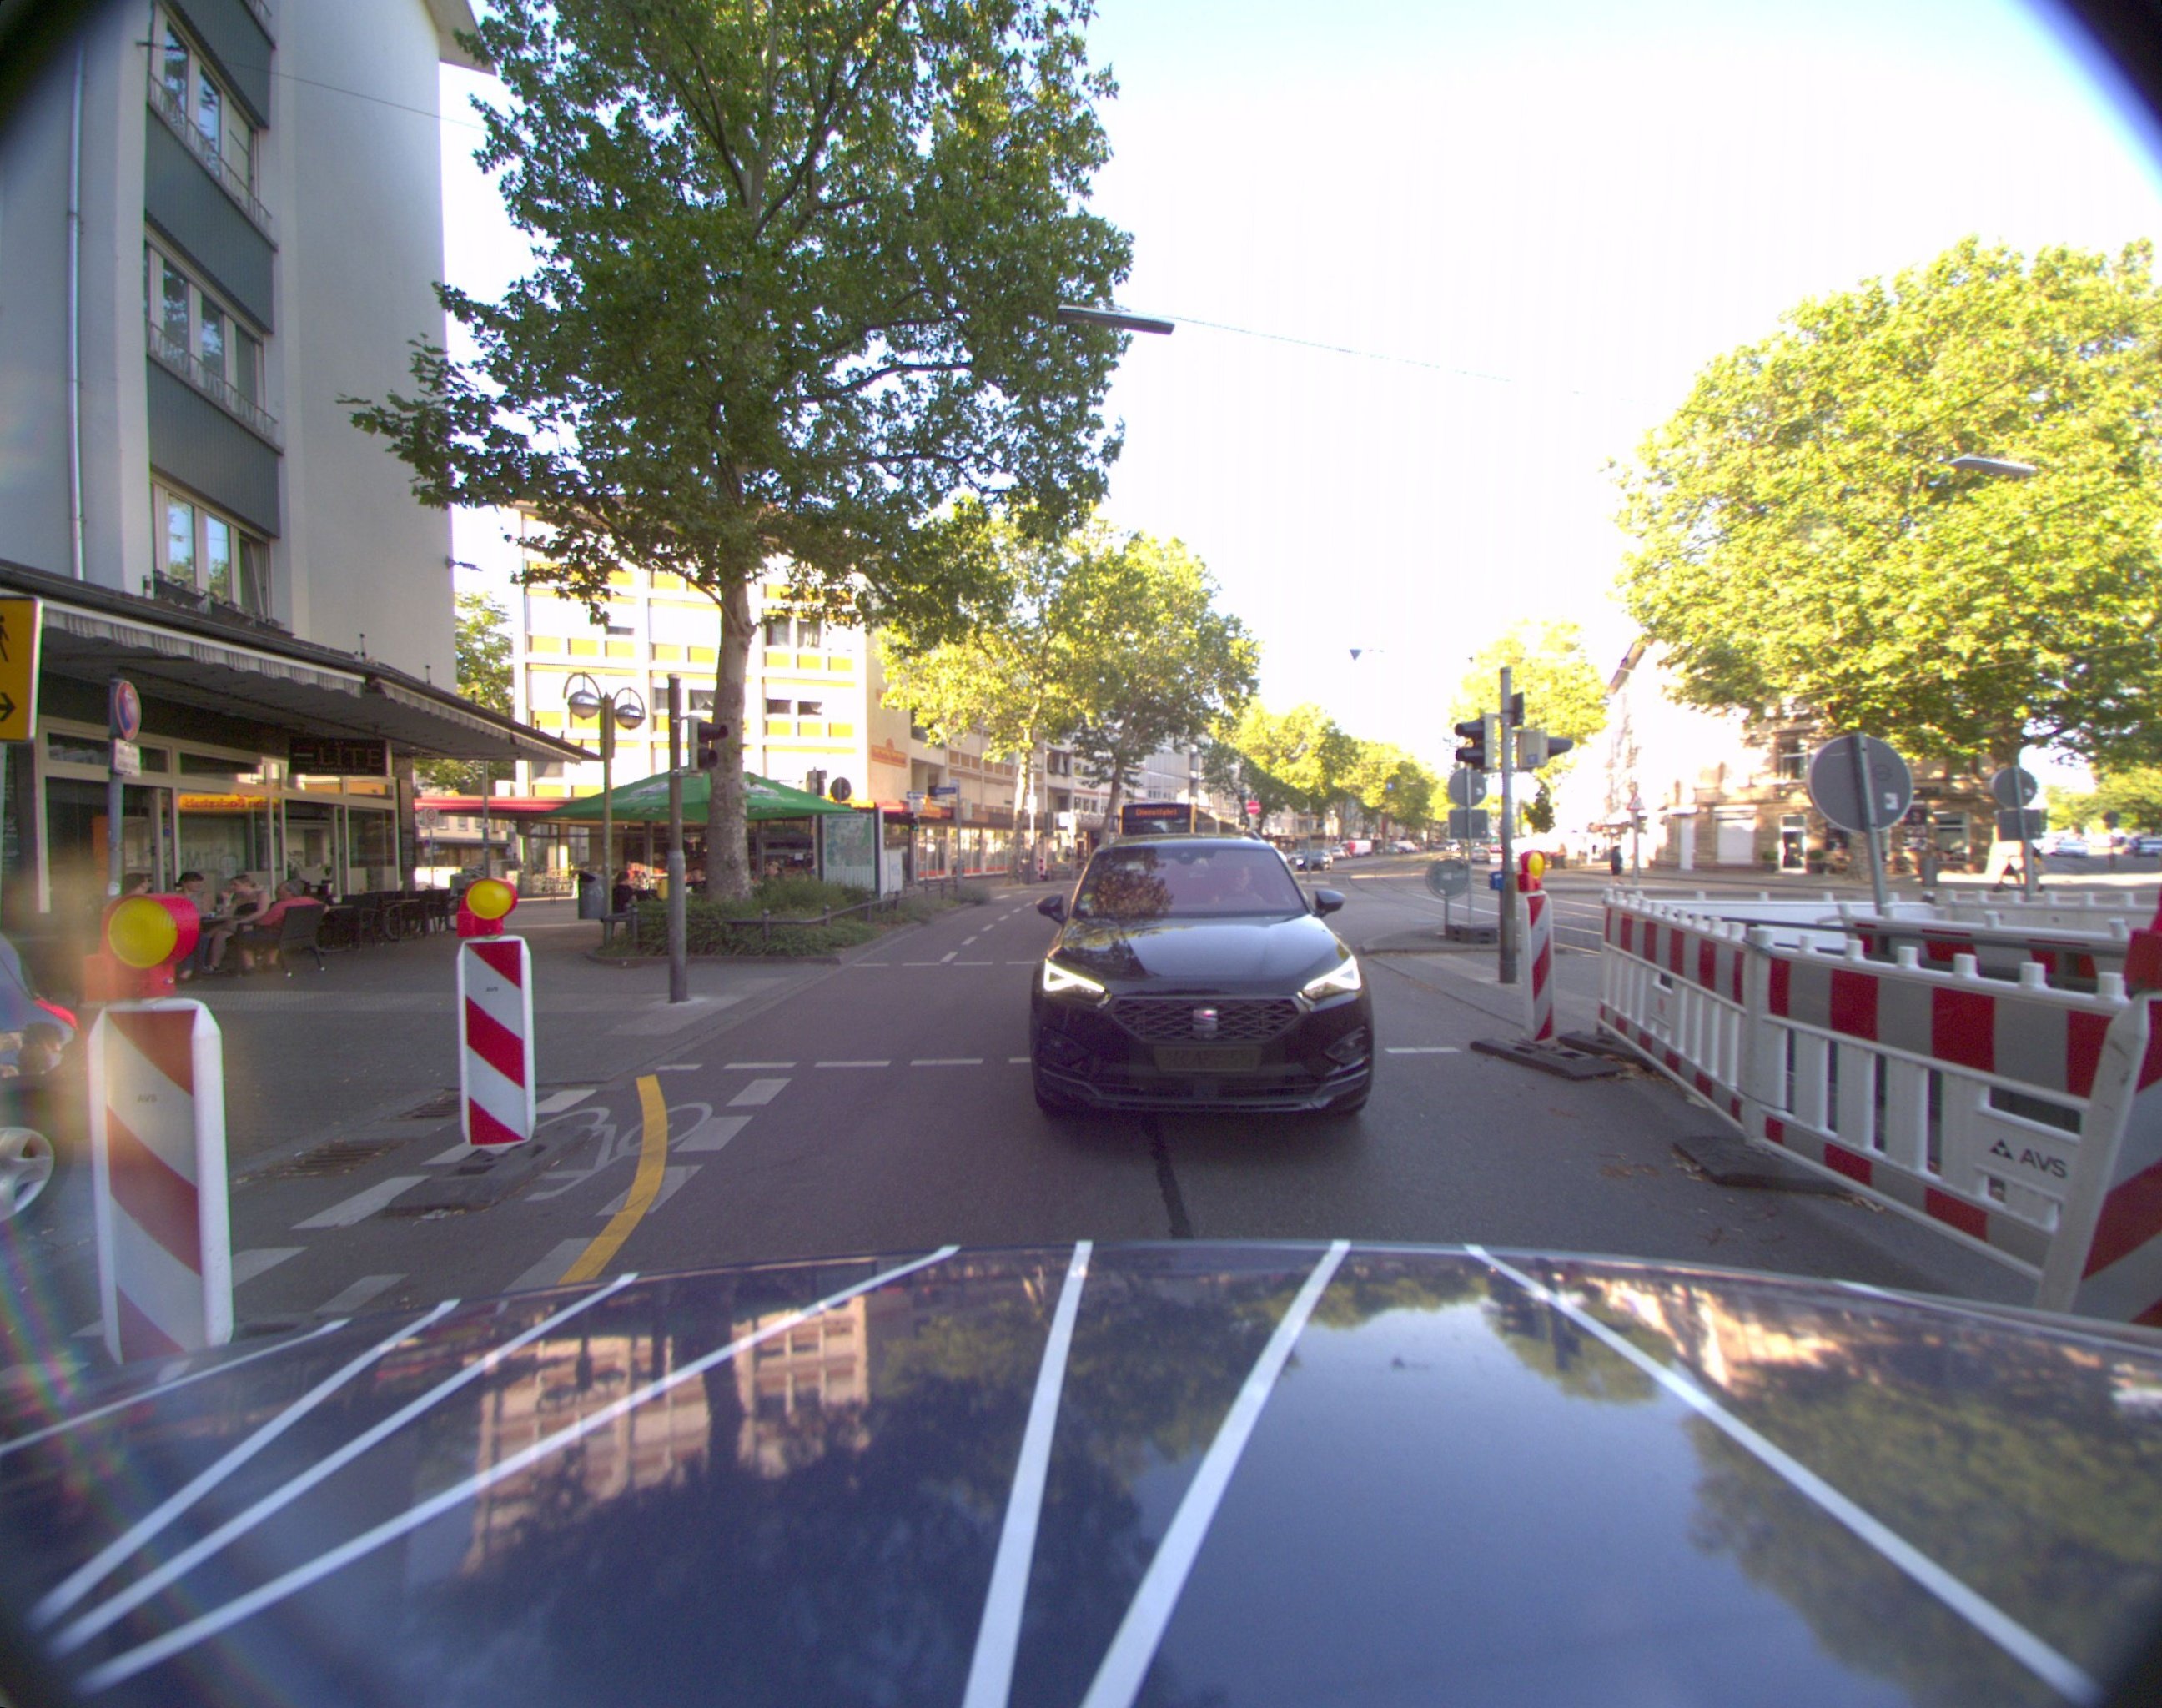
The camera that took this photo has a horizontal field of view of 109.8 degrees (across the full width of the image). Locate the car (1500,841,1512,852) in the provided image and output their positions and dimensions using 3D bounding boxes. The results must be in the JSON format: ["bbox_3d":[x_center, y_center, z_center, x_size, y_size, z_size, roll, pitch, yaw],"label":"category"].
[{"bbox_3d":[72.751,-1.248,130.011,1.686,1.841,4.007,0,1,29],"label":"car"}]

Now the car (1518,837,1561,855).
[{"bbox_3d":[52.396,-0.945,86.890,4.001,2.002,1.997,-1,1,-13],"label":"car"}]

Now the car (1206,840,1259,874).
[{"bbox_3d":[9.216,0.155,45.977,1.995,2.002,4.105,0,1,29],"label":"car"}]

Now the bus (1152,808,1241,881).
[{"bbox_3d":[5.799,-0.434,36.728,2.717,3.088,8.608,0,1,19],"label":"bus"}]

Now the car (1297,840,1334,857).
[{"bbox_3d":[28.532,-0.694,92.451,3.994,2.002,2.001,-1,1,8],"label":"car"}]

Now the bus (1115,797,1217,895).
[{"bbox_3d":[3.430,-0.288,28.294,2.718,3.088,8.629,0,1,13],"label":"bus"}]

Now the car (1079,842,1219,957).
[{"bbox_3d":[1.008,0.641,12.948,1.998,1.634,4.075,-1,1,1],"label":"car"}]

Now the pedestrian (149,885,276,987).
[{"bbox_3d":[-10.839,0.998,9.509,0.647,1.186,0.792,0,1,7],"label":"pedestrian"}]

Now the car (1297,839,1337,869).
[{"bbox_3d":[16.542,-0.029,53.220,1.995,2.002,4.007,0,1,27],"label":"car"}]

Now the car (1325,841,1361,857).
[{"bbox_3d":[33.895,-0.614,98.344,3.994,2.002,2.001,-1,1,8],"label":"car"}]

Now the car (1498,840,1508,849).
[{"bbox_3d":[84.738,-1.903,152.457,1.686,1.737,4.007,0,1,29],"label":"car"}]

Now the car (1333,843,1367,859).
[{"bbox_3d":[36.423,-0.401,102.922,3.994,2.002,2.001,-1,1,8],"label":"car"}]

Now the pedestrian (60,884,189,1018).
[{"bbox_3d":[-10.225,0.997,8.130,0.789,1.299,0.701,0,1,28],"label":"pedestrian"}]

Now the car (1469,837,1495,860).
[{"bbox_3d":[36.538,-0.538,69.141,1.994,2.002,4.007,0,1,29],"label":"car"}]

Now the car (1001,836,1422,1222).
[{"bbox_3d":[0.603,0.757,5.350,1.841,1.696,4.000,-1,1,1],"label":"car"}]

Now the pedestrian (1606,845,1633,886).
[{"bbox_3d":[20.294,0.433,28.649,0.603,1.524,0.745,0,1,12],"label":"pedestrian"}]

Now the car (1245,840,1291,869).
[{"bbox_3d":[13.583,0.027,55.061,1.994,2.002,4.008,0,1,33],"label":"car"}]

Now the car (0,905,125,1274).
[{"bbox_3d":[-5.223,0.963,1.647,1.771,1.459,3.610,2,0,-2],"label":"car"}]

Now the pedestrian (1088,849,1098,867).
[{"bbox_3d":[0.961,0.292,59.512,0.627,1.429,0.532,0,1,20],"label":"pedestrian"}]

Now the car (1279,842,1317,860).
[{"bbox_3d":[24.348,-0.339,85.069,3.991,2.002,2.003,0,1,18],"label":"car"}]

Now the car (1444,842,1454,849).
[{"bbox_3d":[87.936,-2.109,181.344,1.836,1.692,4.138,0,1,31],"label":"car"}]

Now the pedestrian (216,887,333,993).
[{"bbox_3d":[-9.848,1.014,9.293,0.877,1.186,0.701,0,1,24],"label":"pedestrian"}]

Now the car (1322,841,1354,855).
[{"bbox_3d":[36.414,-0.830,107.602,3.994,2.002,2.001,-1,1,8],"label":"car"}]
